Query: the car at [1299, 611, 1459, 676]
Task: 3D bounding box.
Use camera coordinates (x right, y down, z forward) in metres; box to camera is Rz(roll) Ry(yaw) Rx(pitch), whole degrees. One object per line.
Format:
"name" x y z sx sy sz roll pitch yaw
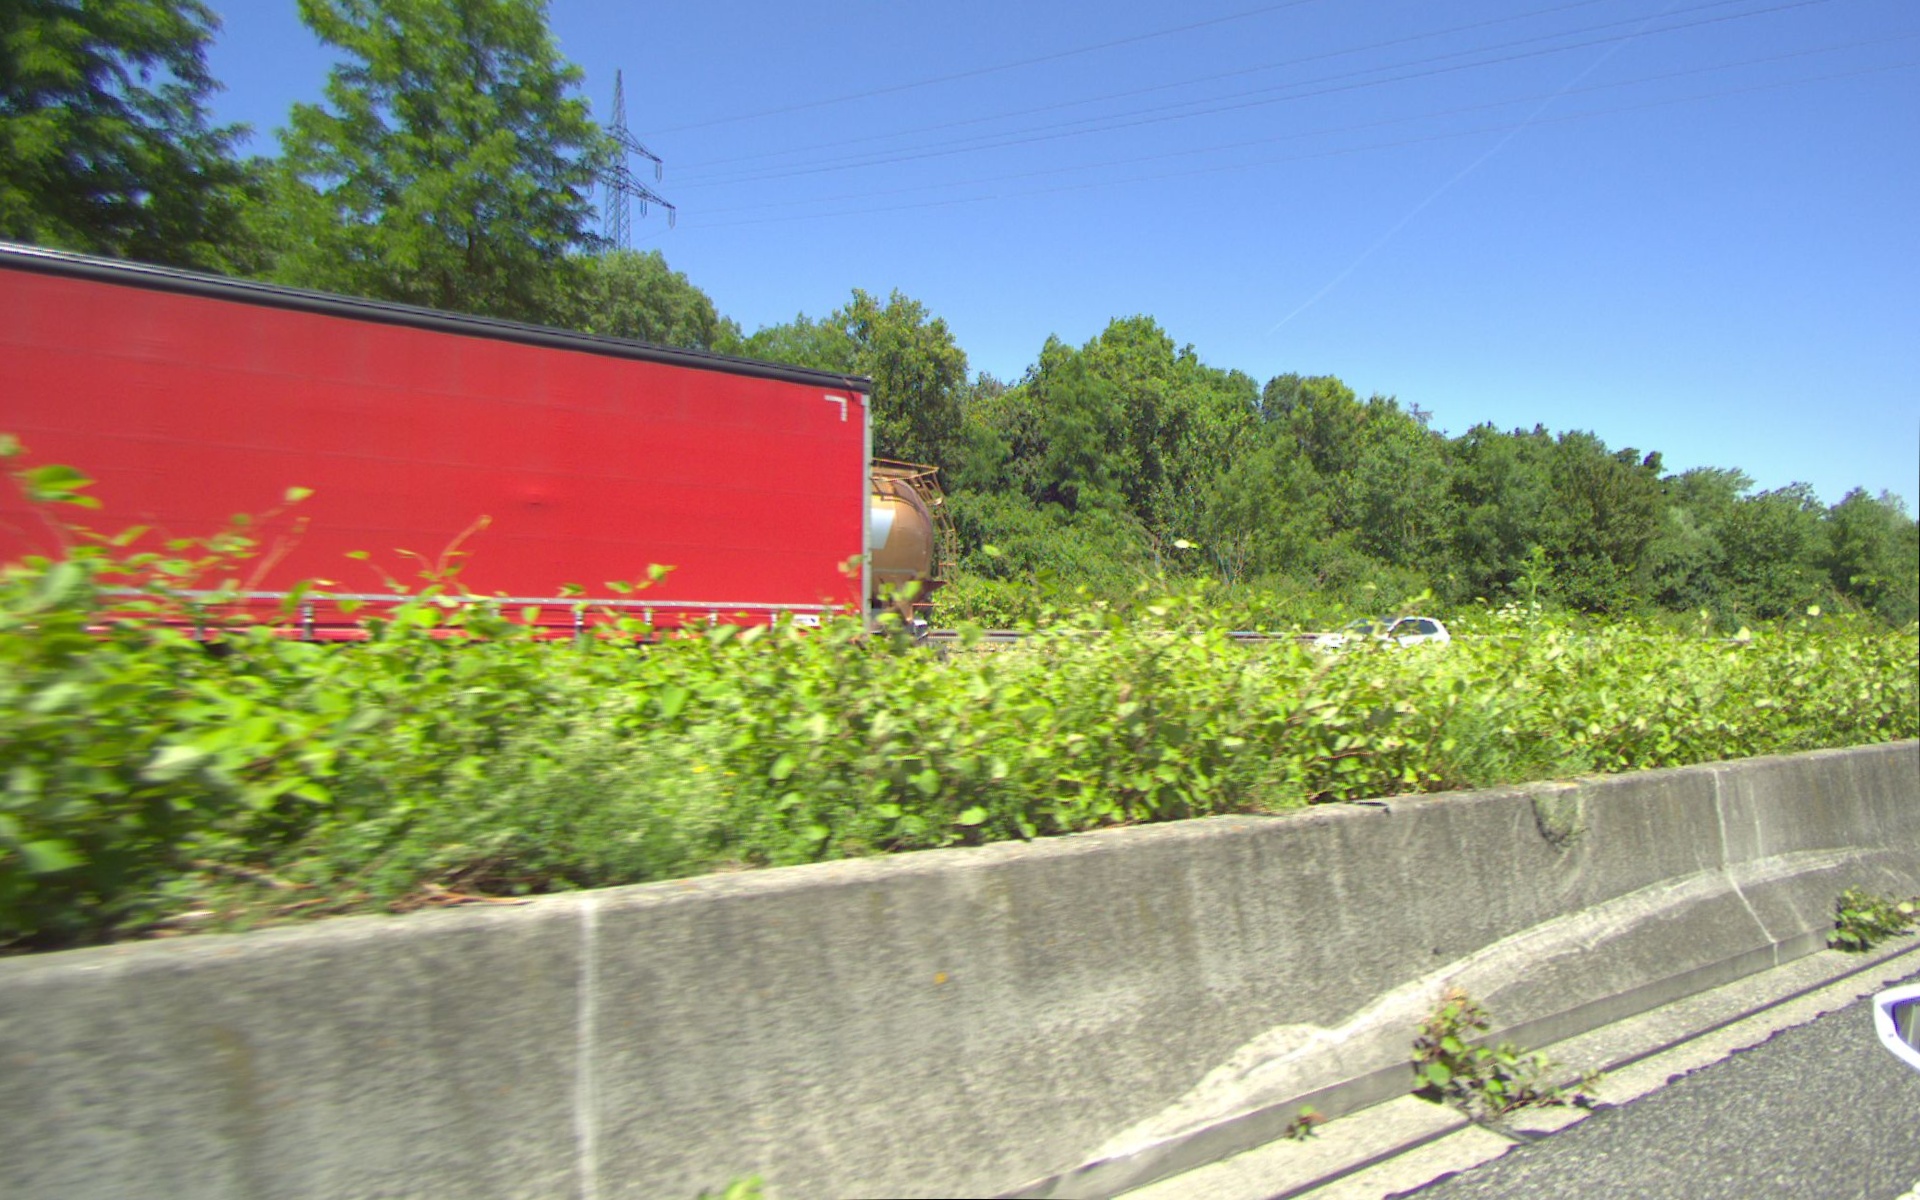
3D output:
"car" 10.583 1.080 25.333 3.954 1.499 1.712 2 0 -31

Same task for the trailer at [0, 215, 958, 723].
"trailer" -6.757 -0.991 9.820 14.236 3.988 2.453 2 0 -31

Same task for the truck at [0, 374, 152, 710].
"truck" -11.989 -0.665 11.332 4.117 3.649 2.344 1 0 -32

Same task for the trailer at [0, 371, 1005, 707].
"trailer" -5.857 -0.522 15.051 14.057 3.643 2.359 2 0 -31
